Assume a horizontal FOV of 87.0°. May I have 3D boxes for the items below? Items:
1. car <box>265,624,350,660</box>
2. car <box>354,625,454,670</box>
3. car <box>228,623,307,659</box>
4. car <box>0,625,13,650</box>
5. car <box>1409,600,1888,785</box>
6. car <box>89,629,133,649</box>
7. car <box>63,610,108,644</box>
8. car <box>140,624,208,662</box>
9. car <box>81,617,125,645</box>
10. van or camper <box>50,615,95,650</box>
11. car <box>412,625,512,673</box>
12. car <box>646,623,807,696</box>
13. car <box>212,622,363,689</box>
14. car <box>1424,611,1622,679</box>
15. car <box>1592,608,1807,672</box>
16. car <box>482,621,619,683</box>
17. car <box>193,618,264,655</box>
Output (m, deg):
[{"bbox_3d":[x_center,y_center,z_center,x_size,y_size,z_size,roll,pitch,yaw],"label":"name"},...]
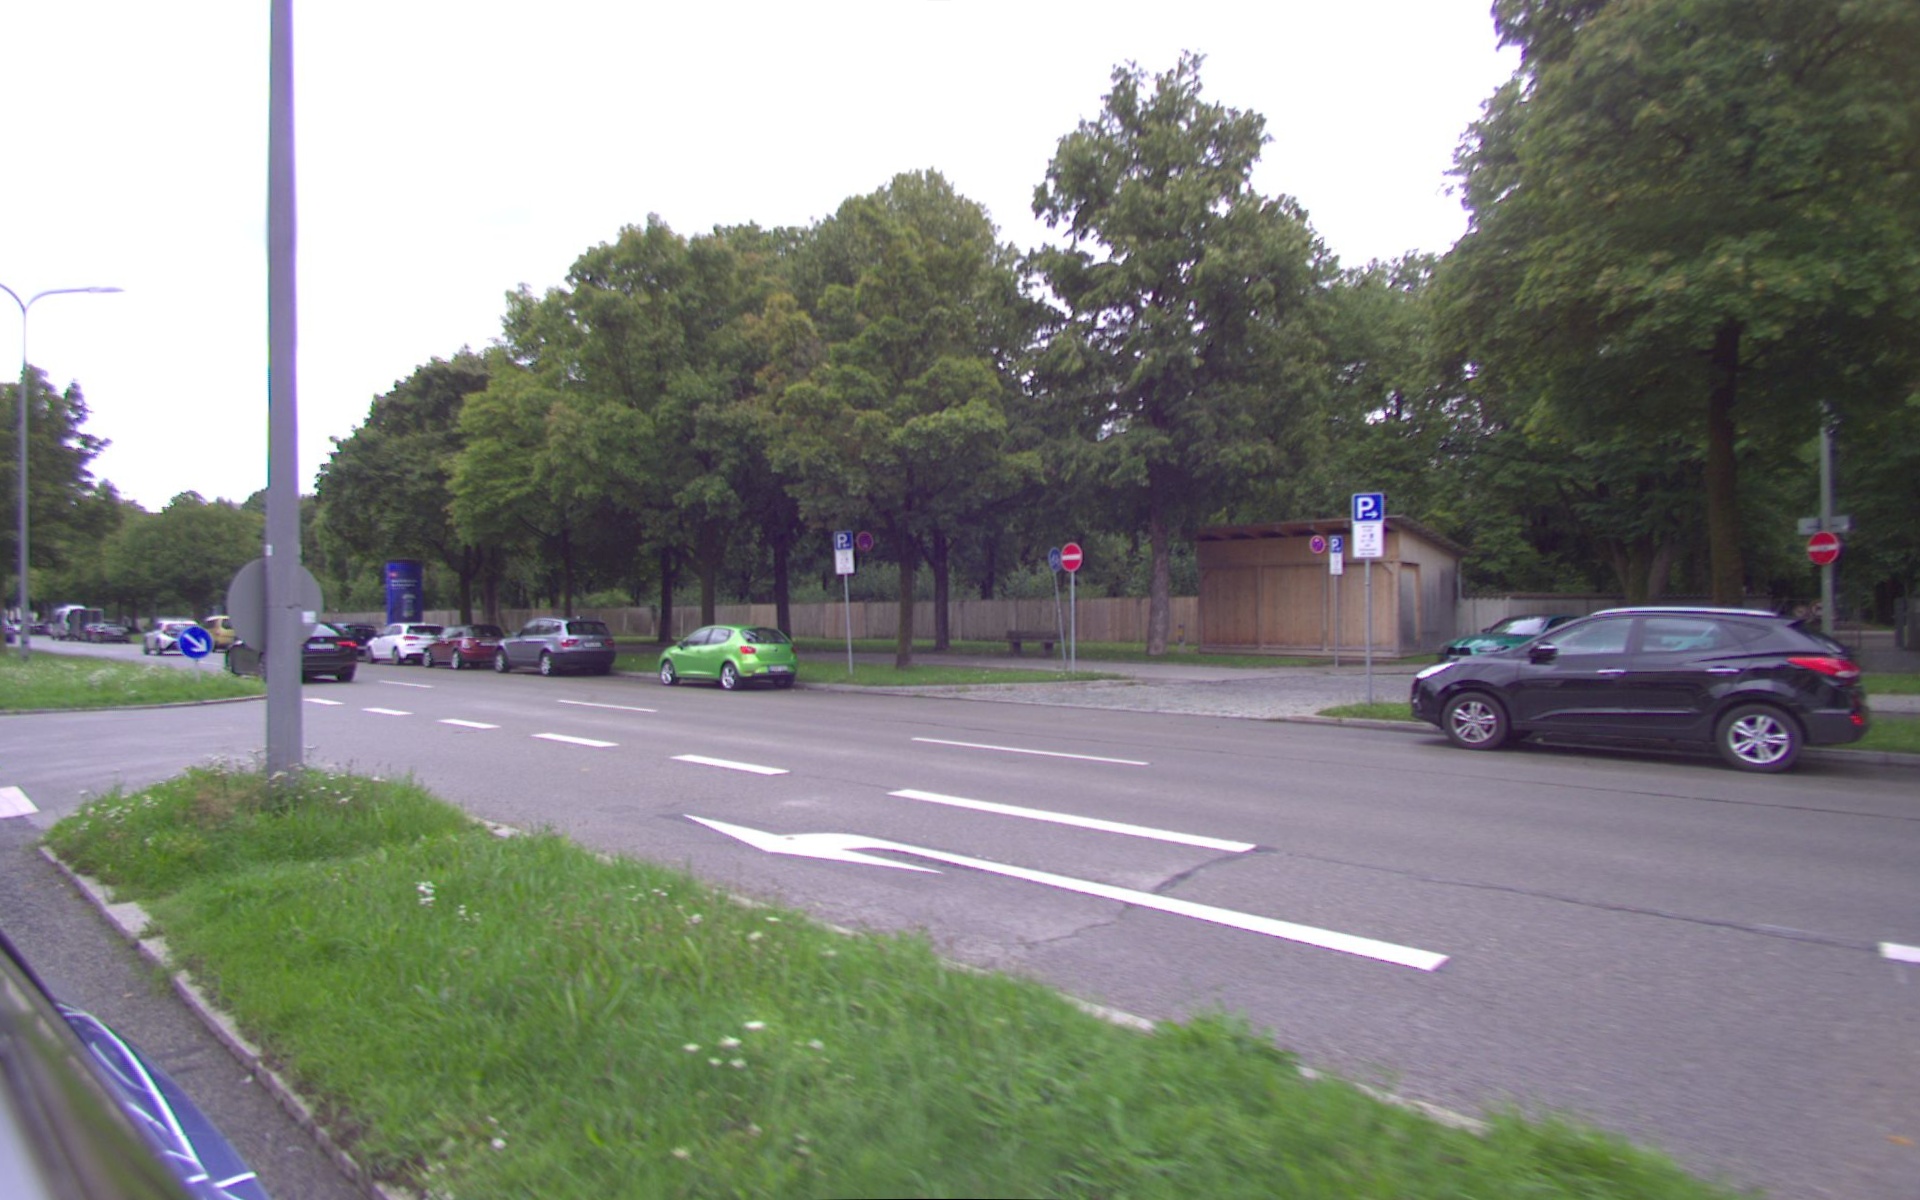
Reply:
[{"bbox_3d":[-28.045,1.794,43.460,4.297,1.481,1.803,-1,-2,39],"label":"car"},{"bbox_3d":[-19.846,1.674,36.058,4.259,1.488,1.802,-2,-4,42],"label":"car"},{"bbox_3d":[-32.554,1.898,47.549,4.038,1.628,1.982,-1,-2,39],"label":"car"},{"bbox_3d":[-65.658,2.562,68.565,4.500,1.601,1.802,-2,-2,42],"label":"car"},{"bbox_3d":[7.564,0.854,11.448,4.237,1.712,1.803,0,0,40],"label":"car"},{"bbox_3d":[-61.052,2.801,72.776,4.038,1.420,1.695,-1,-2,39],"label":"car"},{"bbox_3d":[-70.126,2.188,81.131,4.495,2.611,1.974,-1,-2,39],"label":"car"},{"bbox_3d":[-34.580,1.848,44.479,3.721,1.565,1.802,-1,-1,43],"label":"car"},{"bbox_3d":[-64.475,2.297,76.137,3.998,2.029,1.973,-1,-1,41],"label":"car"},{"bbox_3d":[-74.012,2.708,84.373,4.927,2.829,1.974,-1,-3,39],"label":"van or camper"},{"bbox_3d":[-16.066,1.560,32.606,3.686,1.433,1.632,-2,-4,42],"label":"car"},{"bbox_3d":[-5.393,1.311,23.139,4.000,1.511,1.622,-2,-3,43],"label":"car"},{"bbox_3d":[-16.225,1.270,24.326,4.779,1.459,1.797,-1,-2,41],"label":"car"},{"bbox_3d":[12.882,0.995,23.219,3.793,1.420,1.865,0,-1,-18],"label":"car"},{"bbox_3d":[18.163,0.943,24.917,4.394,1.420,1.864,-1,-1,-14],"label":"car"},{"bbox_3d":[-11.706,1.428,28.794,4.454,1.643,1.802,-1,-2,41],"label":"car"},{"bbox_3d":[-37.335,1.853,51.604,4.529,1.784,1.838,-1,-2,39],"label":"car"}]
